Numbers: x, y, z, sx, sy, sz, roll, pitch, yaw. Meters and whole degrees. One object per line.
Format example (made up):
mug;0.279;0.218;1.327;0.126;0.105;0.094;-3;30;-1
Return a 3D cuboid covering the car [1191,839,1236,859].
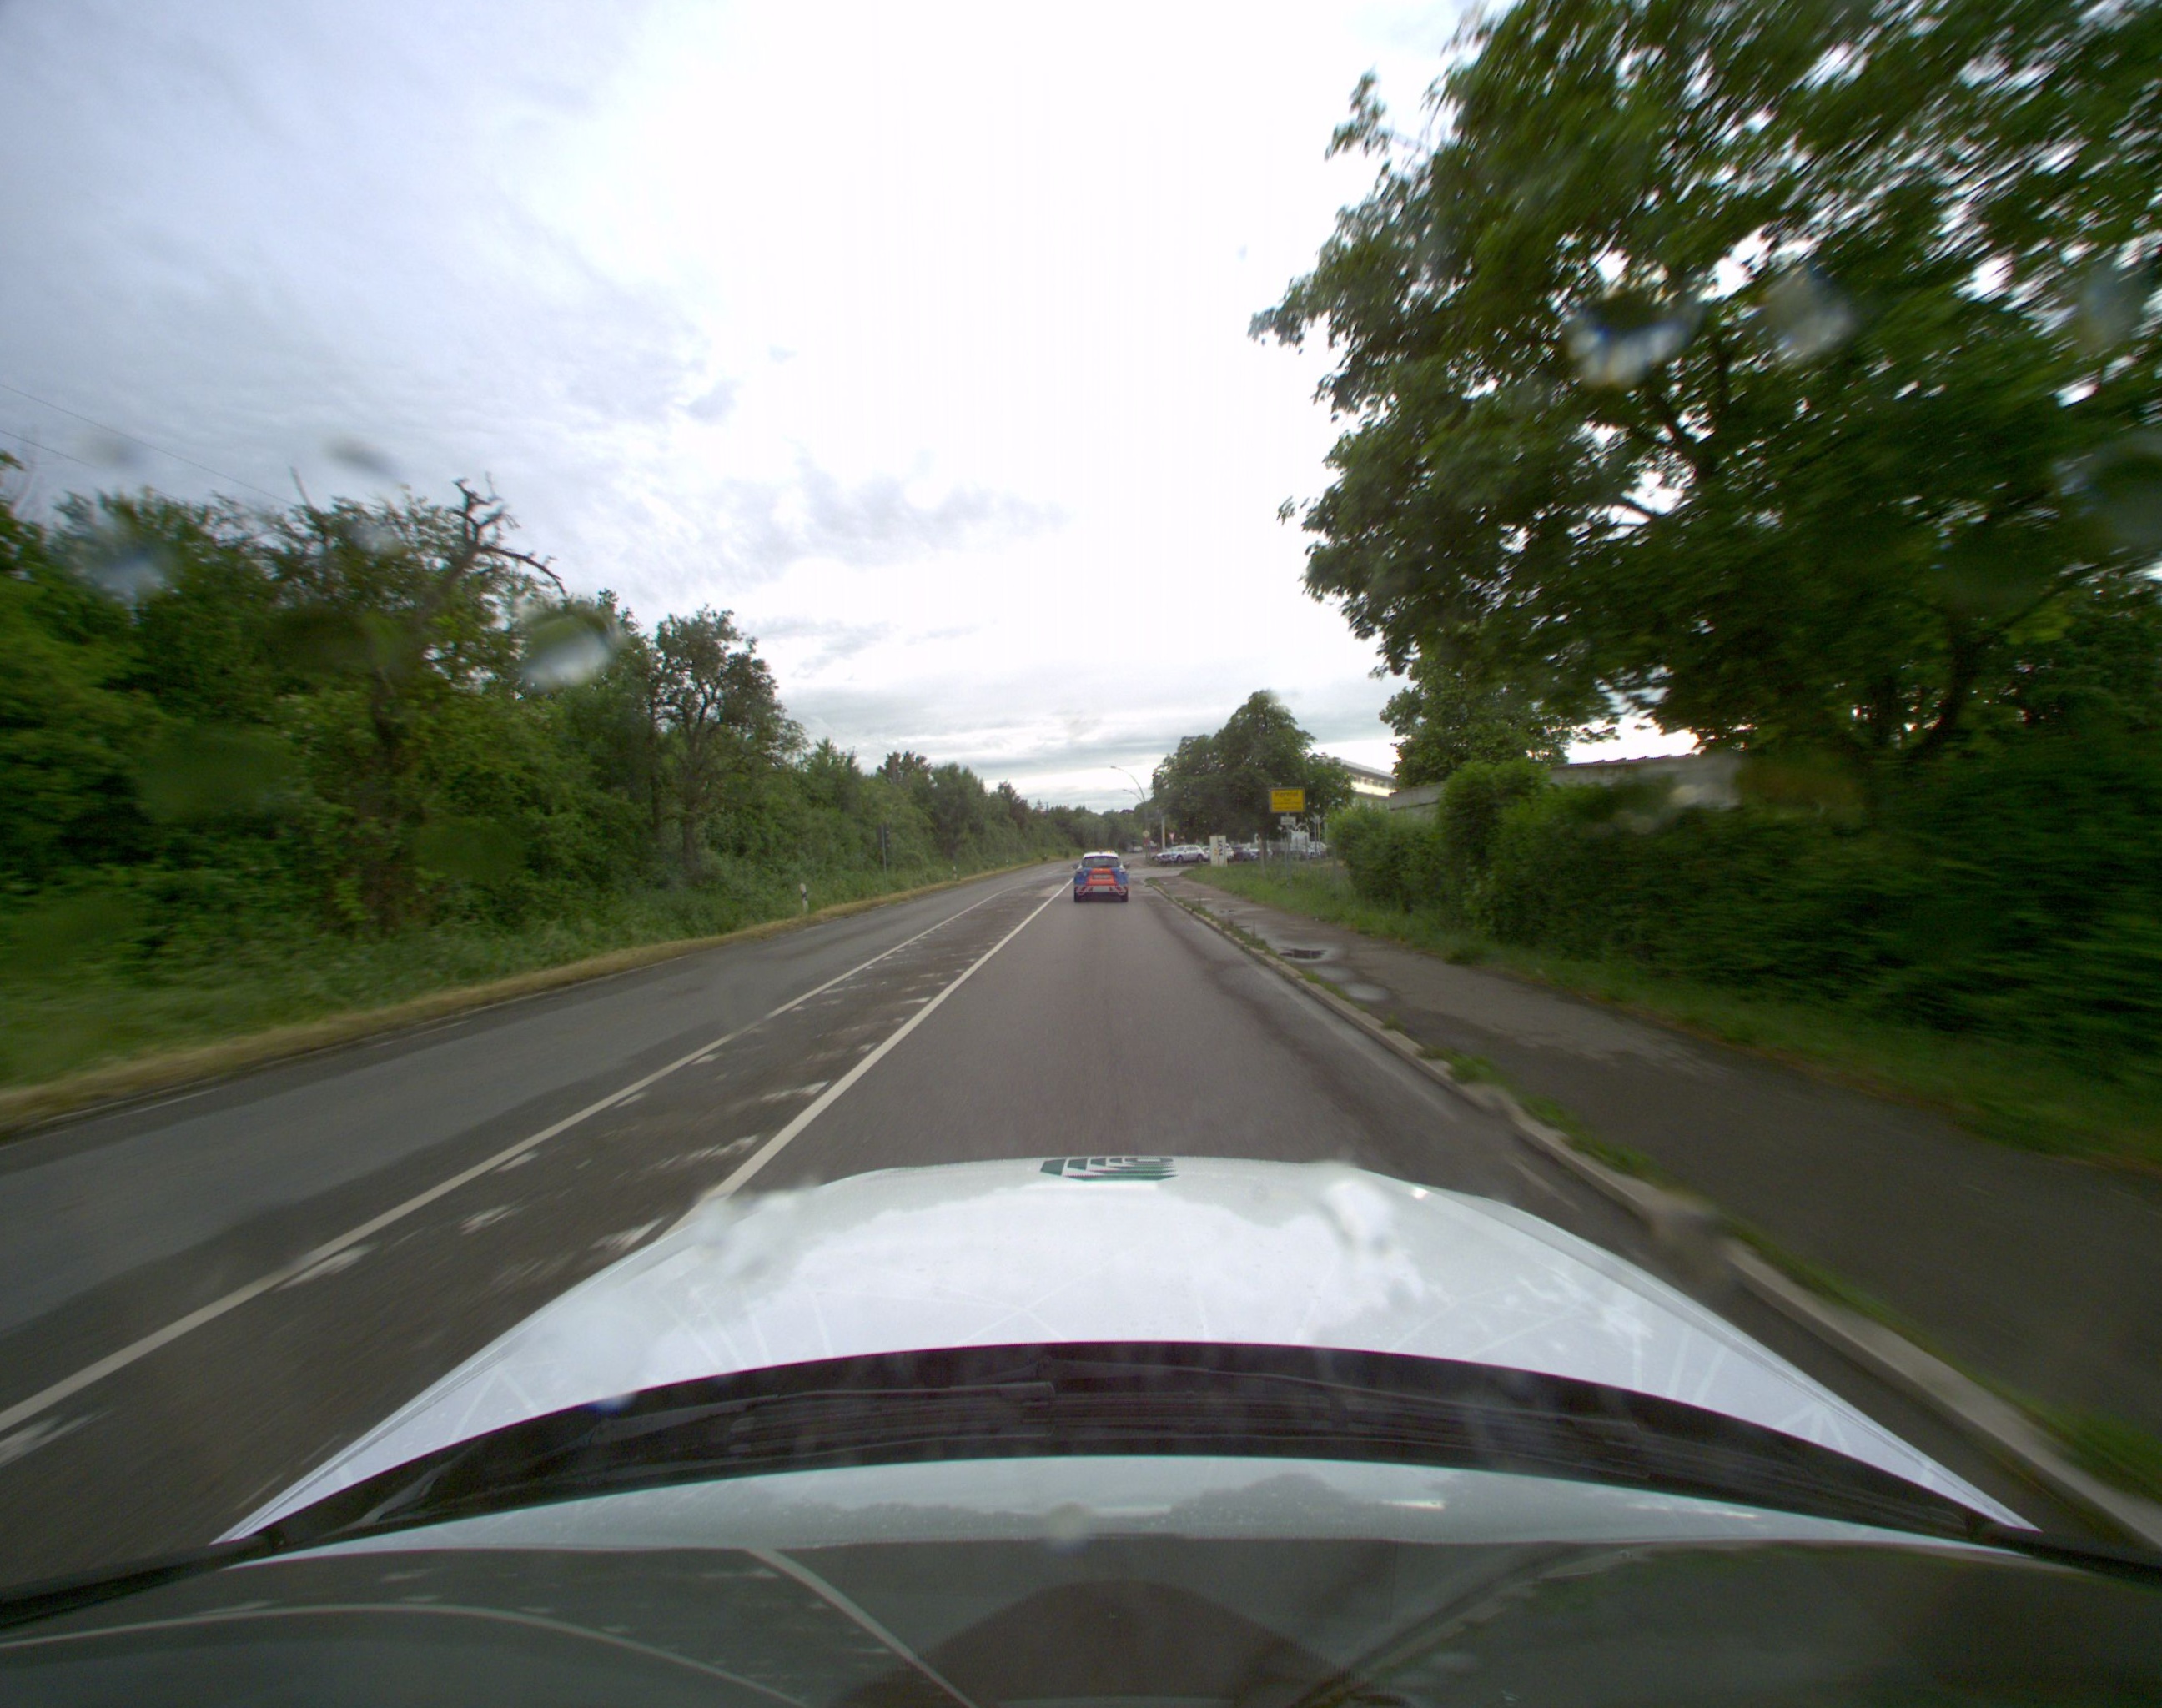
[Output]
car;12.726;-0.477;77.903;1.907;1.751;4.647;-1;1;44

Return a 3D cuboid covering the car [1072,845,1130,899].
car;0.661;0.571;26.937;1.799;1.668;3.857;0;0;1

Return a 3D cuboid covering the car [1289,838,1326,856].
car;20.774;-0.614;74.782;1.649;1.602;4.606;0;0;-8

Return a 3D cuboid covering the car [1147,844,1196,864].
car;8.522;-0.021;76.580;4.644;1.751;2.010;0;-2;-43

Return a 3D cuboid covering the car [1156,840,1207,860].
car;9.047;-0.361;73.248;4.644;1.751;2.010;0;-1;-43

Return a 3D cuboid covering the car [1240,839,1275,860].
car;15.193;-0.339;70.330;1.930;1.751;4.617;0;0;-1

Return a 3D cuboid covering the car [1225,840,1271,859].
car;15.802;-0.461;76.988;4.645;1.751;1.908;-1;1;-43

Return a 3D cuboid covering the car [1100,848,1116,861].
car;3.535;0.069;107.421;1.684;1.790;3.864;0;0;8

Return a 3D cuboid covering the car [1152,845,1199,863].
car;9.438;-0.006;80.993;4.639;1.751;1.787;0;-2;-36

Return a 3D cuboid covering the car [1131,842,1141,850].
car;12.592;-1.749;187.065;1.682;1.790;3.870;0;0;14

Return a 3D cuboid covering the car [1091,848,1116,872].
car;1.555;0.409;56.823;1.688;1.595;3.857;0;0;1

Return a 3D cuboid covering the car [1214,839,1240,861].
car;12.489;-0.331;69.894;1.818;1.829;4.268;0;0;4
